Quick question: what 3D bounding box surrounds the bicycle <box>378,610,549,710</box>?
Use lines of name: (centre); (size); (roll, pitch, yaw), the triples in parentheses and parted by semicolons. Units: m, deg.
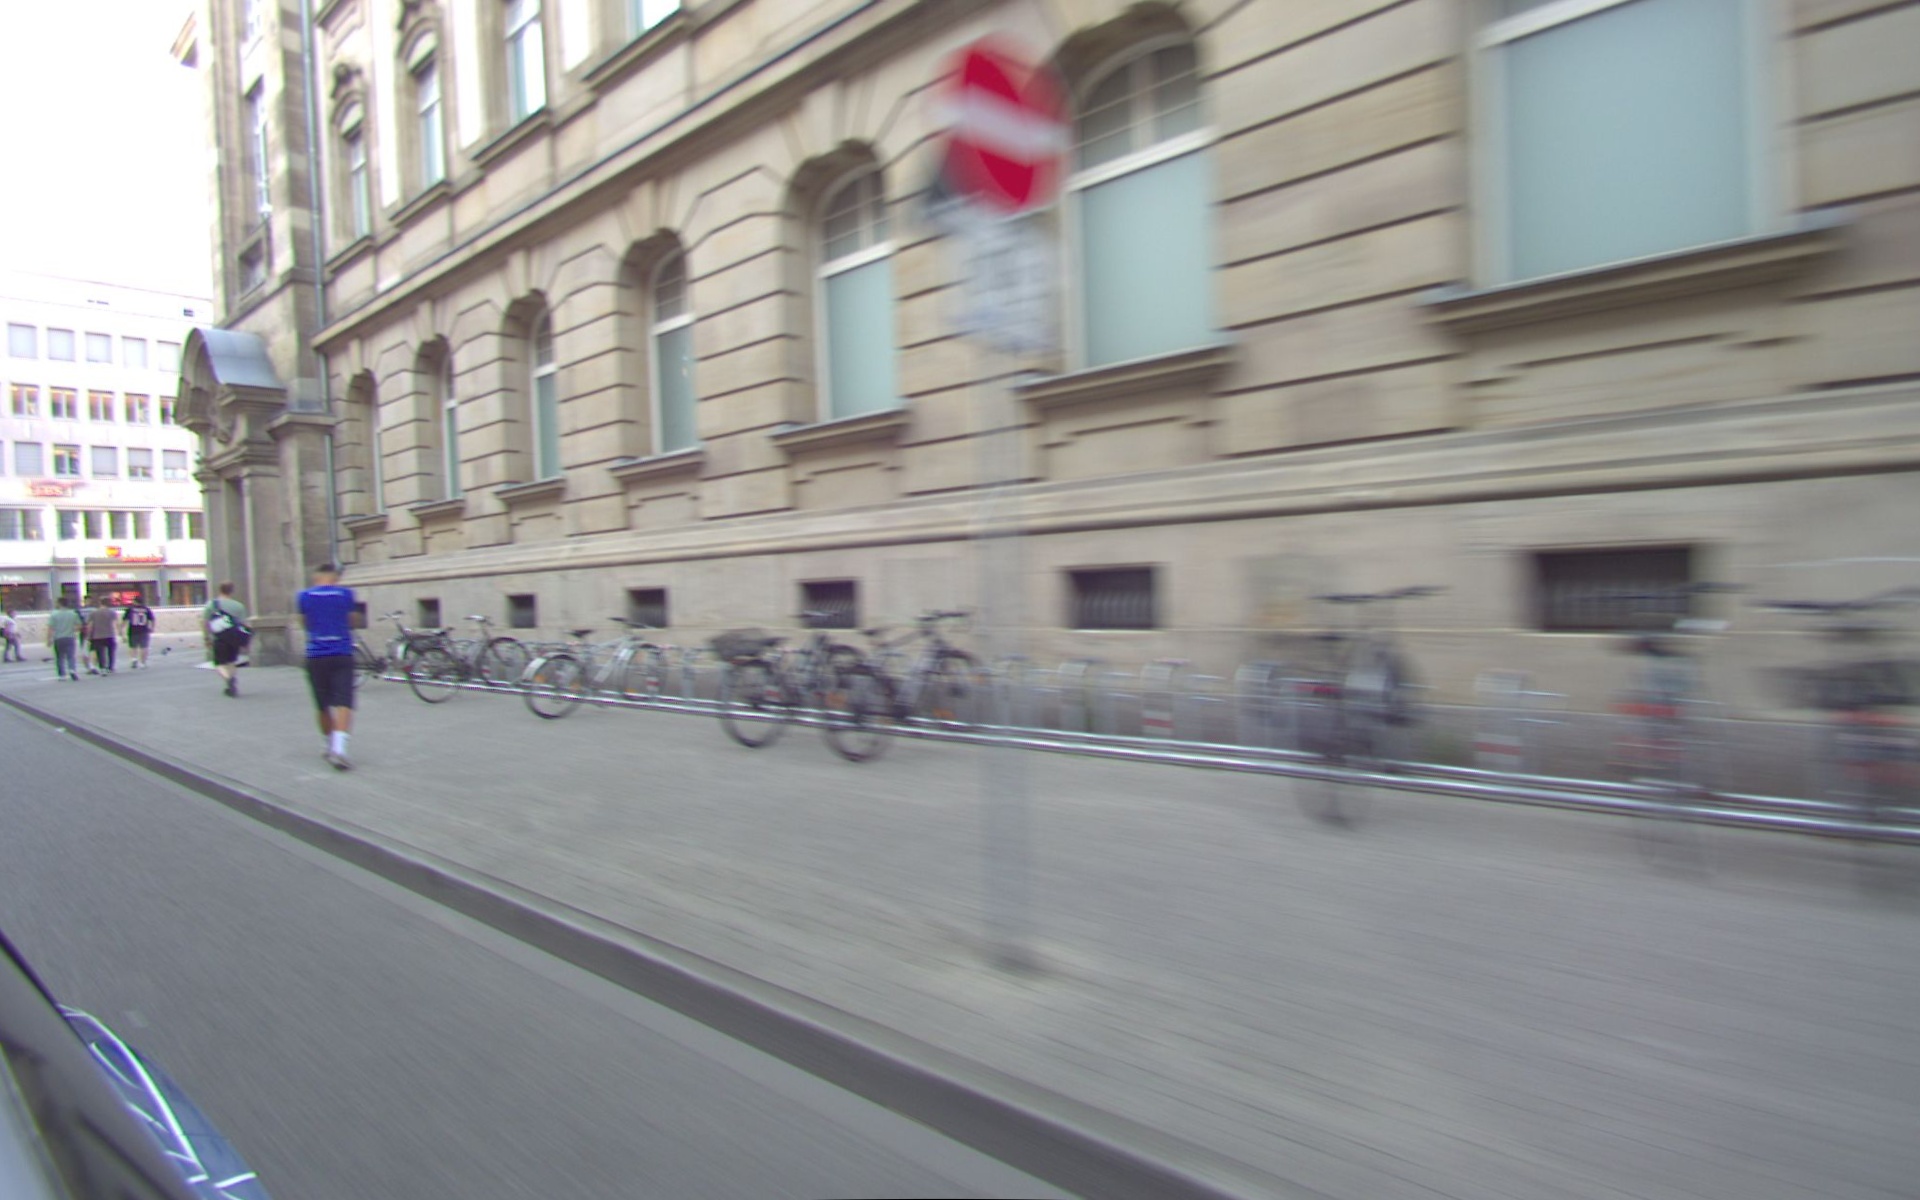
bicycle: (-6.483, 0.745, 13.352); (0.725, 1.086, 2.011); (-2, 3, 22)

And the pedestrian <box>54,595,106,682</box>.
pedestrian: (-19.655, 0.835, 22.603); (0.708, 1.843, 0.871); (-7, 4, -41)

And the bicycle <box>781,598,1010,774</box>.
bicycle: (-0.436, 0.595, 7.921); (0.728, 1.086, 1.921); (-1, 3, 34)

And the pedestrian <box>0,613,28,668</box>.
pedestrian: (-29.433, 1.236, 31.255); (0.731, 1.672, 0.755); (-2, 0, -24)

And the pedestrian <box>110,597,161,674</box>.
pedestrian: (-18.846, 0.796, 23.141); (0.747, 1.653, 0.749); (-7, 4, -41)

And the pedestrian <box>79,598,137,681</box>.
pedestrian: (-18.153, 0.827, 21.561); (0.858, 1.680, 0.721); (-1, 4, 44)

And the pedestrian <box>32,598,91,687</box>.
pedestrian: (-18.637, 0.864, 20.983); (0.840, 1.754, 0.718); (-1, 4, 44)

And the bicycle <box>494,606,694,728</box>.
bicycle: (-3.935, 0.677, 11.035); (0.729, 1.086, 1.920); (-1, 3, 37)

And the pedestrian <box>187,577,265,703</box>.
pedestrian: (-11.018, 0.584, 15.198); (0.800, 1.793, 0.710); (-1, 2, 42)

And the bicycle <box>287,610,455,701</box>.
bicycle: (-8.752, 0.787, 15.120); (0.728, 1.117, 2.002); (-1, 3, 35)

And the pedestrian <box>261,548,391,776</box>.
pedestrian: (-5.350, 0.488, 8.597); (0.765, 1.802, 0.823); (-3, 1, -26)

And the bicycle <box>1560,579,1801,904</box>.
bicycle: (3.256, 0.501, 4.643); (0.728, 1.086, 1.921); (-1, 3, 34)

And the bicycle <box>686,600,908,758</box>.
bicycle: (-1.335, 0.608, 8.699); (0.728, 1.086, 1.921); (-1, 3, 34)

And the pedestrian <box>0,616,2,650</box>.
pedestrian: (-49.262, 1.711, 51.564); (0.558, 1.721, 0.539); (-2, 1, 41)

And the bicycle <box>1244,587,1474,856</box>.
bicycle: (2.219, 0.532, 5.455); (0.728, 1.086, 1.921); (-1, 3, 34)

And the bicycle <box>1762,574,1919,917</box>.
bicycle: (3.877, 0.481, 4.182); (0.728, 1.086, 1.921); (-1, 3, 34)
